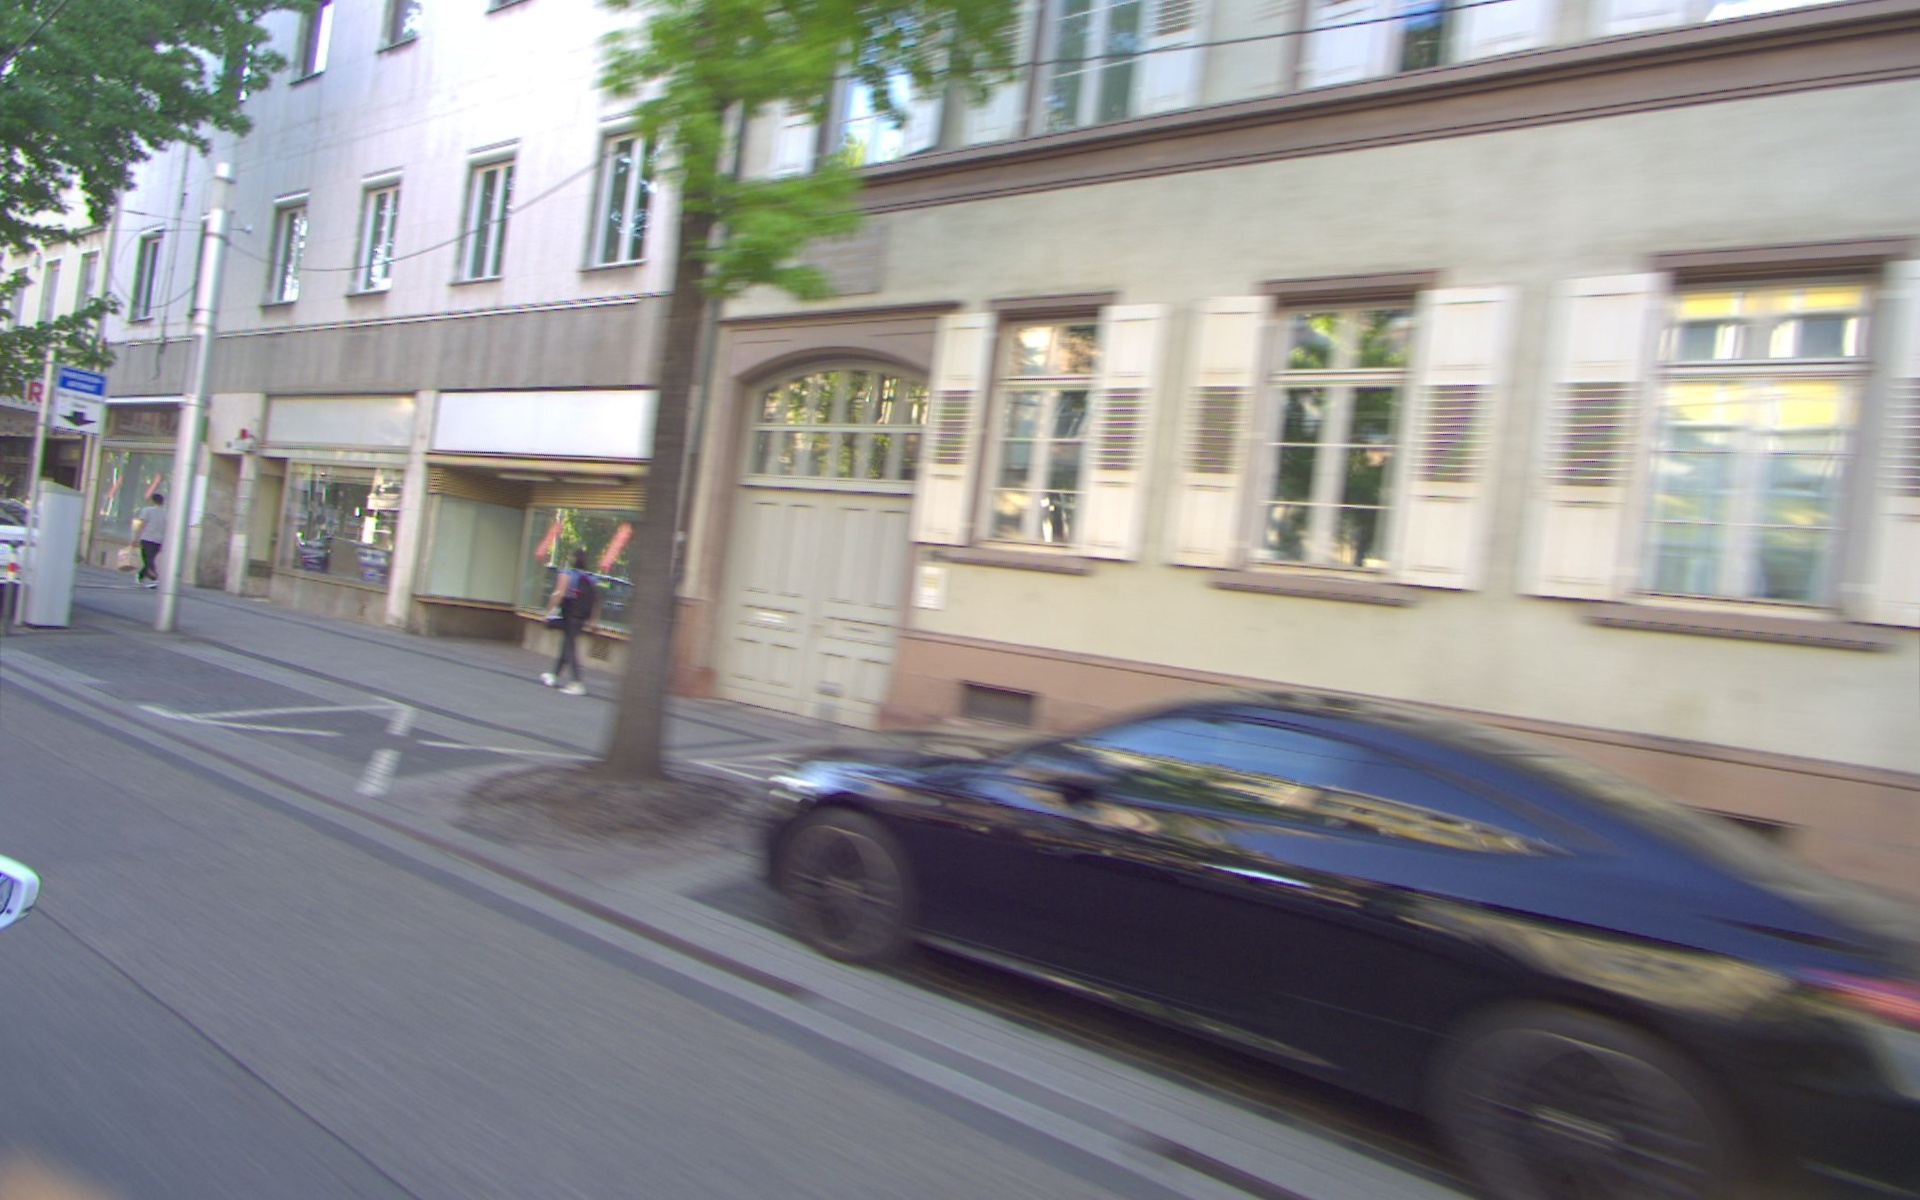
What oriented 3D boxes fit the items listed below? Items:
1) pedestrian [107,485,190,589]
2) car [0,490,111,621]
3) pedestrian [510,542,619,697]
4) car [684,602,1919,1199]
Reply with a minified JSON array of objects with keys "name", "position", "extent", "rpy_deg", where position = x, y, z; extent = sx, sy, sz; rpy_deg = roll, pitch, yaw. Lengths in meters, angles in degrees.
[{"name":"pedestrian","position":[-14.894,-1.144,18.462],"extent":[0.917,1.776,0.858],"rpy_deg":[7,3,32]},{"name":"car","position":[-13.612,-0.757,13.609],"extent":[4.603,1.518,1.993],"rpy_deg":[7,2,33]},{"name":"pedestrian","position":[-4.621,0.225,11.749],"extent":[0.873,1.687,0.658],"rpy_deg":[7,2,32]},{"name":"car","position":[1.182,1.047,4.439],"extent":[4.682,1.497,1.834],"rpy_deg":[7,1,32]}]
